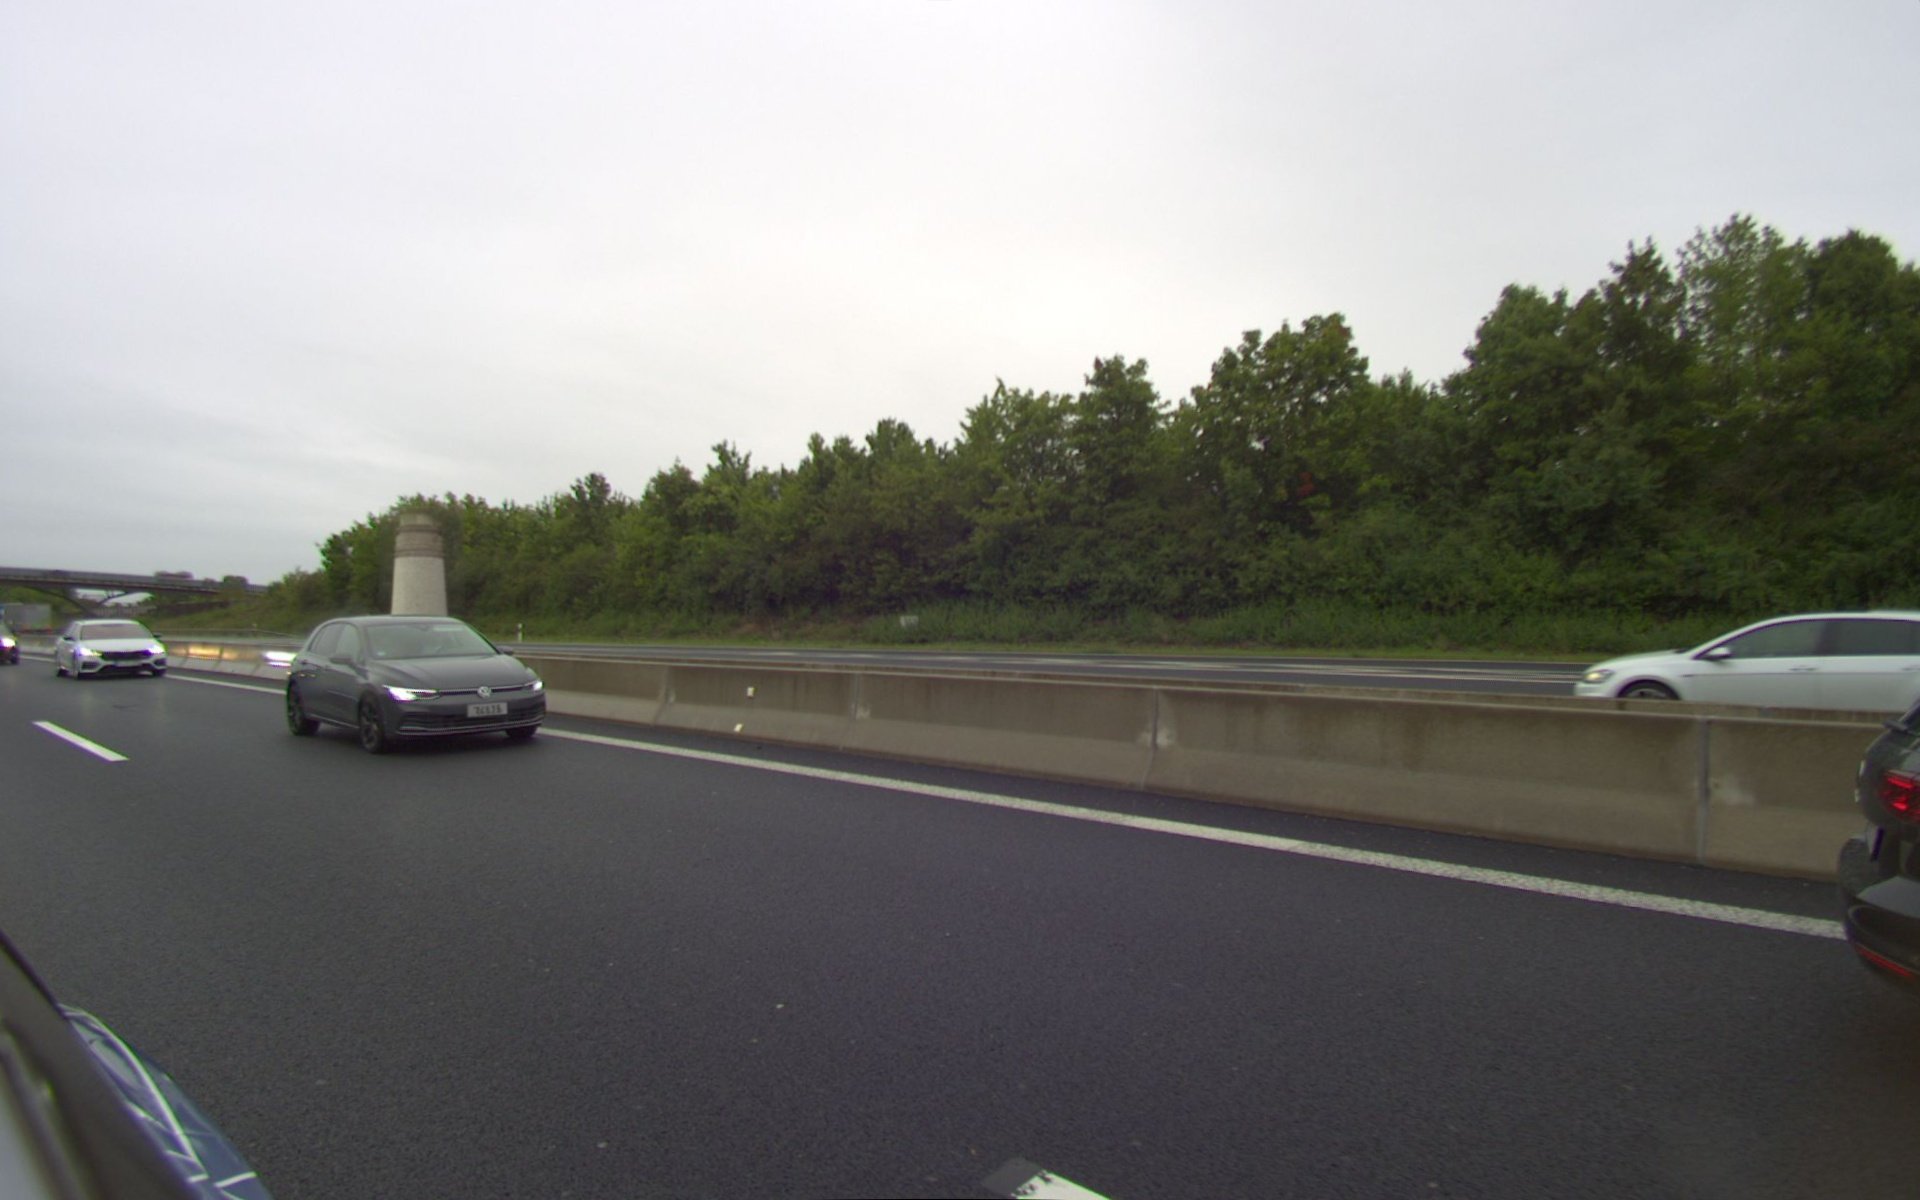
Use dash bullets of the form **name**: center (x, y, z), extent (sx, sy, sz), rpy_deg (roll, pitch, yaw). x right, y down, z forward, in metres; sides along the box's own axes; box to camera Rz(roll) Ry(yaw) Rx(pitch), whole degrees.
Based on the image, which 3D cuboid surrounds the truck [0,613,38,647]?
- **truck**: center (-116.986, 3.728, 125.357), extent (7.436, 4.114, 3.226), rpy_deg (-2, -1, 40)

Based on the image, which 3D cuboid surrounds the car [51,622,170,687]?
- **car**: center (-21.689, 1.331, 25.790), extent (4.114, 1.518, 1.879), rpy_deg (-2, -1, 43)

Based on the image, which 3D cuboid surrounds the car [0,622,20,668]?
- **car**: center (-33.792, 1.538, 34.702), extent (4.112, 1.518, 1.881), rpy_deg (-2, -1, 41)

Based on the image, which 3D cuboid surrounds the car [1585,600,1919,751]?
- **car**: center (9.674, 0.781, 11.451), extent (4.138, 1.518, 1.962), rpy_deg (-2, -1, 42)

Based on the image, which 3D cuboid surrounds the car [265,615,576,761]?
- **car**: center (-6.568, 0.910, 12.094), extent (4.457, 1.416, 1.880), rpy_deg (-2, -1, 42)

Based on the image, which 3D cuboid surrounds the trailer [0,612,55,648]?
- **trailer**: center (-110.664, 3.557, 119.939), extent (13.835, 4.114, 3.226), rpy_deg (-2, -1, 41)

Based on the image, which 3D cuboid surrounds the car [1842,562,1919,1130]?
- **car**: center (4.905, 0.612, 1.890), extent (4.849, 1.508, 1.881), rpy_deg (-1, -1, 41)
